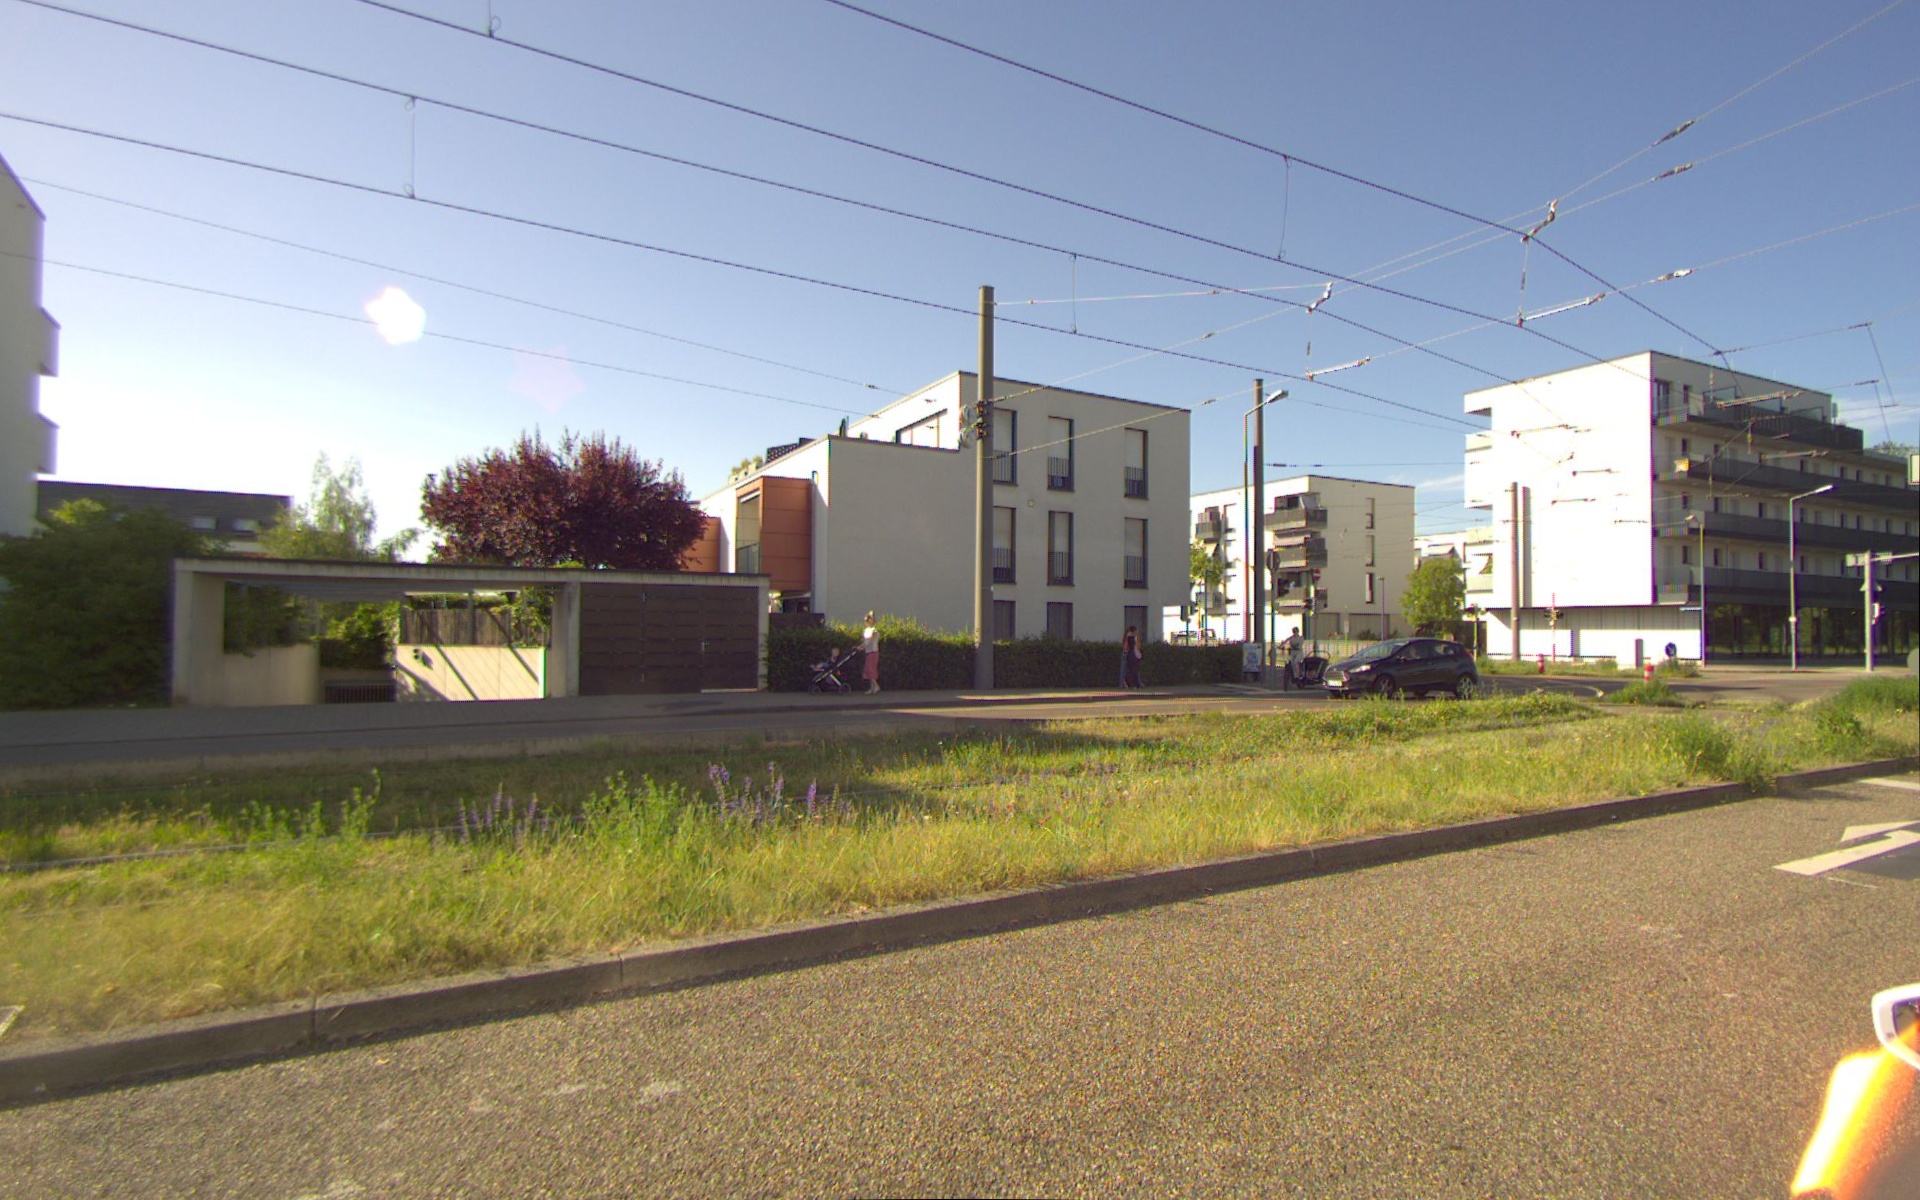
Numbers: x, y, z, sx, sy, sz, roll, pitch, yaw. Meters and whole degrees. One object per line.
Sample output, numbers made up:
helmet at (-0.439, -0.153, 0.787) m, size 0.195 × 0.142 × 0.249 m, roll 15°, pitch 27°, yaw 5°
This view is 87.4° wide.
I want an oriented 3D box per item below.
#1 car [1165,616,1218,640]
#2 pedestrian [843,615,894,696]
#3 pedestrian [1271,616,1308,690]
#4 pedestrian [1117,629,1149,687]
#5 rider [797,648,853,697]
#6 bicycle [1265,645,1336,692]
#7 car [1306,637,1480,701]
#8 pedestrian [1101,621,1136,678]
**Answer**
car at (18.548, 2.244, 80.607) m, size 1.977 × 1.862 × 3.967 m, roll 1°, pitch 0°, yaw -31°
pedestrian at (-2.059, 1.228, 22.504) m, size 0.897 × 1.771 × 0.813 m, roll 1°, pitch 0°, yaw -26°
pedestrian at (9.383, 1.491, 28.627) m, size 0.665 × 2.040 × 0.753 m, roll 1°, pitch 0°, yaw -43°
pedestrian at (4.576, 1.528, 26.537) m, size 0.604 × 1.483 × 0.554 m, roll 1°, pitch 0°, yaw -30°
rider at (-2.962, 1.588, 22.085) m, size 1.031 × 1.016 × 0.775 m, roll 1°, pitch 0°, yaw -25°
bicycle at (9.928, 1.954, 29.184) m, size 2.684 × 1.238 × 0.786 m, roll 1°, pitch 0°, yaw -43°
car at (10.619, 1.666, 24.671) m, size 3.680 × 1.449 × 1.703 m, roll 0°, pitch -3°, yaw -17°
pedestrian at (4.257, 1.318, 27.009) m, size 0.733 × 1.483 × 0.555 m, roll 1°, pitch 0°, yaw -28°
